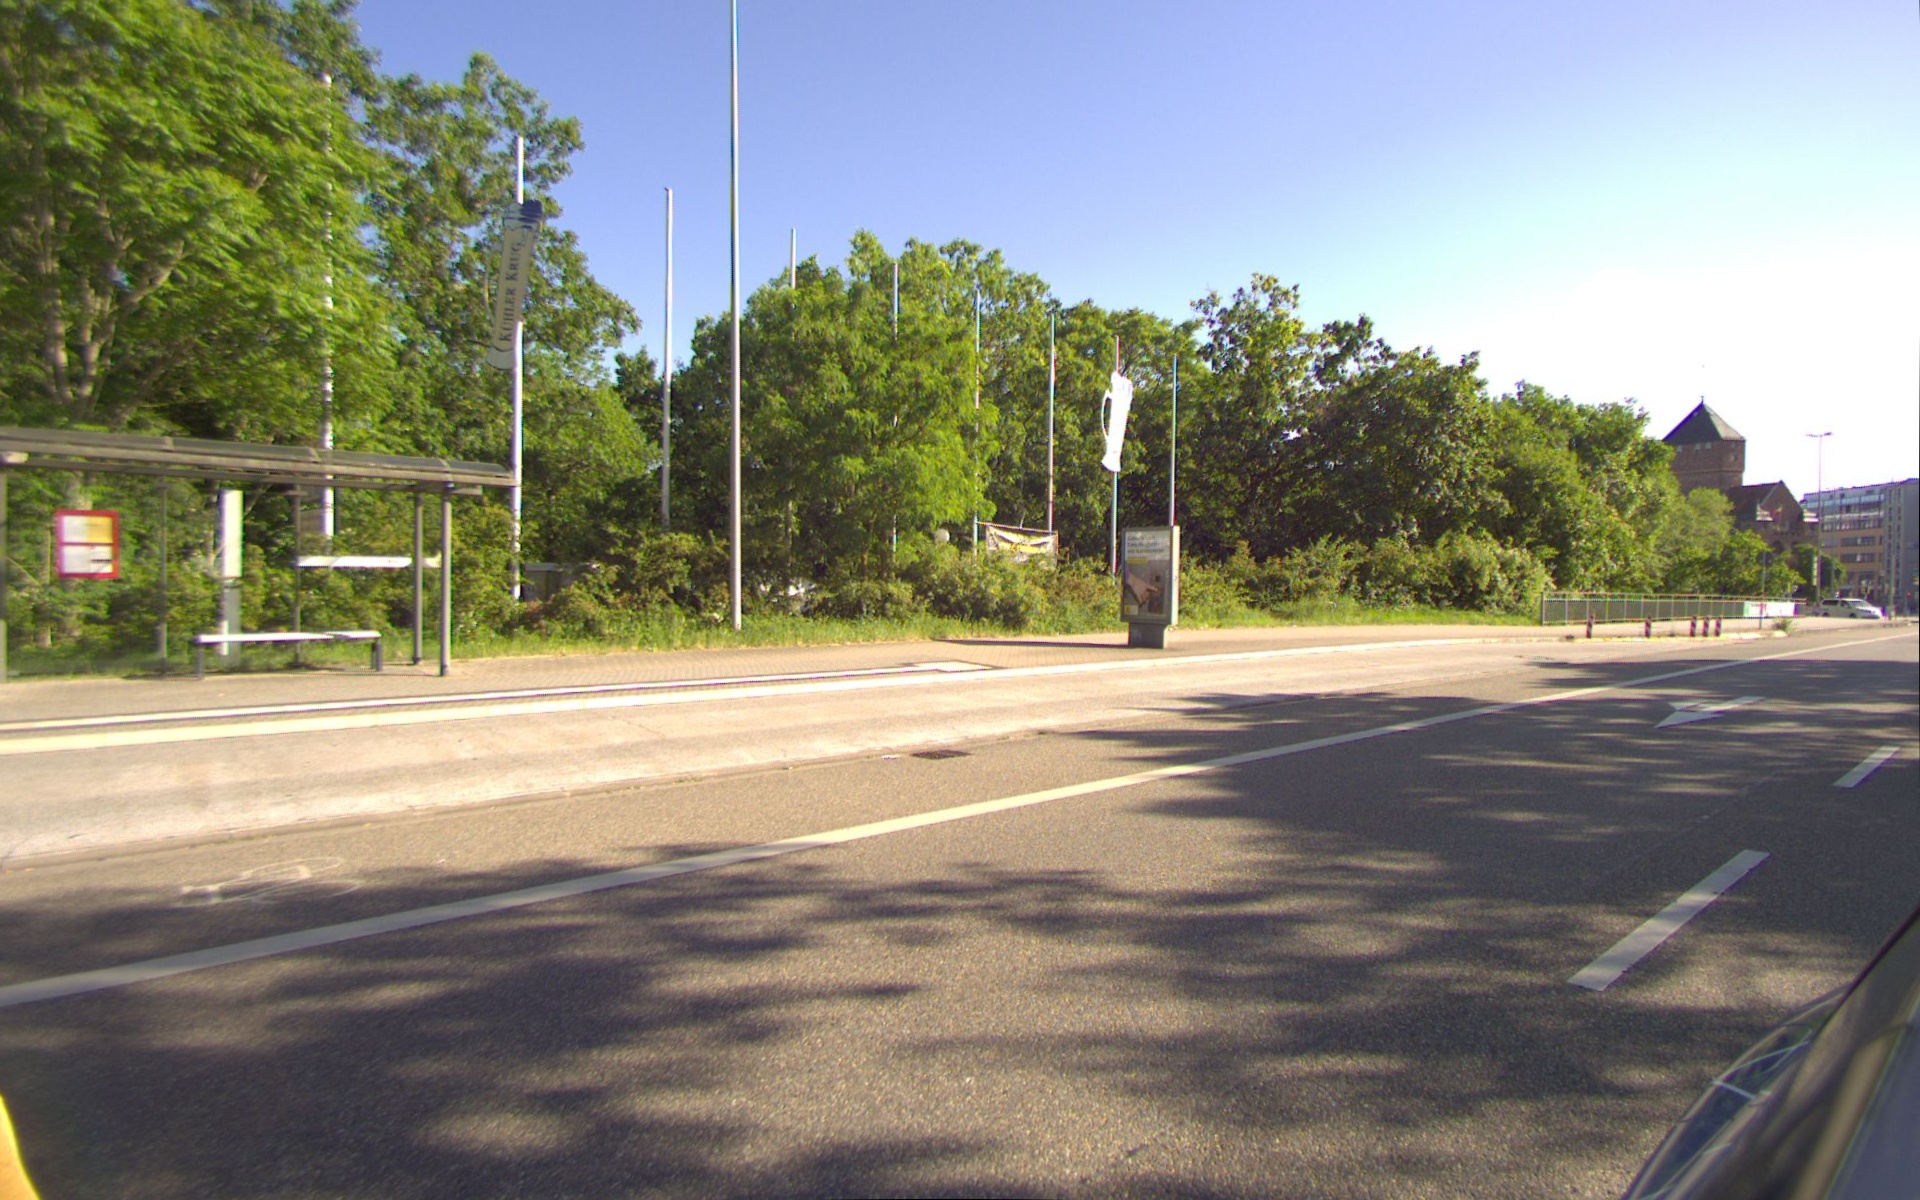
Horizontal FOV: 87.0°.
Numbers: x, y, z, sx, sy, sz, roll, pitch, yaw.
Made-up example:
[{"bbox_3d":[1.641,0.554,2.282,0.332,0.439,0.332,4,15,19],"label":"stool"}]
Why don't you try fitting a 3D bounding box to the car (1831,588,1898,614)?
[{"bbox_3d":[71.678,0.098,80.244,1.714,1.568,3.995,7,-5,1],"label":"car"}]
